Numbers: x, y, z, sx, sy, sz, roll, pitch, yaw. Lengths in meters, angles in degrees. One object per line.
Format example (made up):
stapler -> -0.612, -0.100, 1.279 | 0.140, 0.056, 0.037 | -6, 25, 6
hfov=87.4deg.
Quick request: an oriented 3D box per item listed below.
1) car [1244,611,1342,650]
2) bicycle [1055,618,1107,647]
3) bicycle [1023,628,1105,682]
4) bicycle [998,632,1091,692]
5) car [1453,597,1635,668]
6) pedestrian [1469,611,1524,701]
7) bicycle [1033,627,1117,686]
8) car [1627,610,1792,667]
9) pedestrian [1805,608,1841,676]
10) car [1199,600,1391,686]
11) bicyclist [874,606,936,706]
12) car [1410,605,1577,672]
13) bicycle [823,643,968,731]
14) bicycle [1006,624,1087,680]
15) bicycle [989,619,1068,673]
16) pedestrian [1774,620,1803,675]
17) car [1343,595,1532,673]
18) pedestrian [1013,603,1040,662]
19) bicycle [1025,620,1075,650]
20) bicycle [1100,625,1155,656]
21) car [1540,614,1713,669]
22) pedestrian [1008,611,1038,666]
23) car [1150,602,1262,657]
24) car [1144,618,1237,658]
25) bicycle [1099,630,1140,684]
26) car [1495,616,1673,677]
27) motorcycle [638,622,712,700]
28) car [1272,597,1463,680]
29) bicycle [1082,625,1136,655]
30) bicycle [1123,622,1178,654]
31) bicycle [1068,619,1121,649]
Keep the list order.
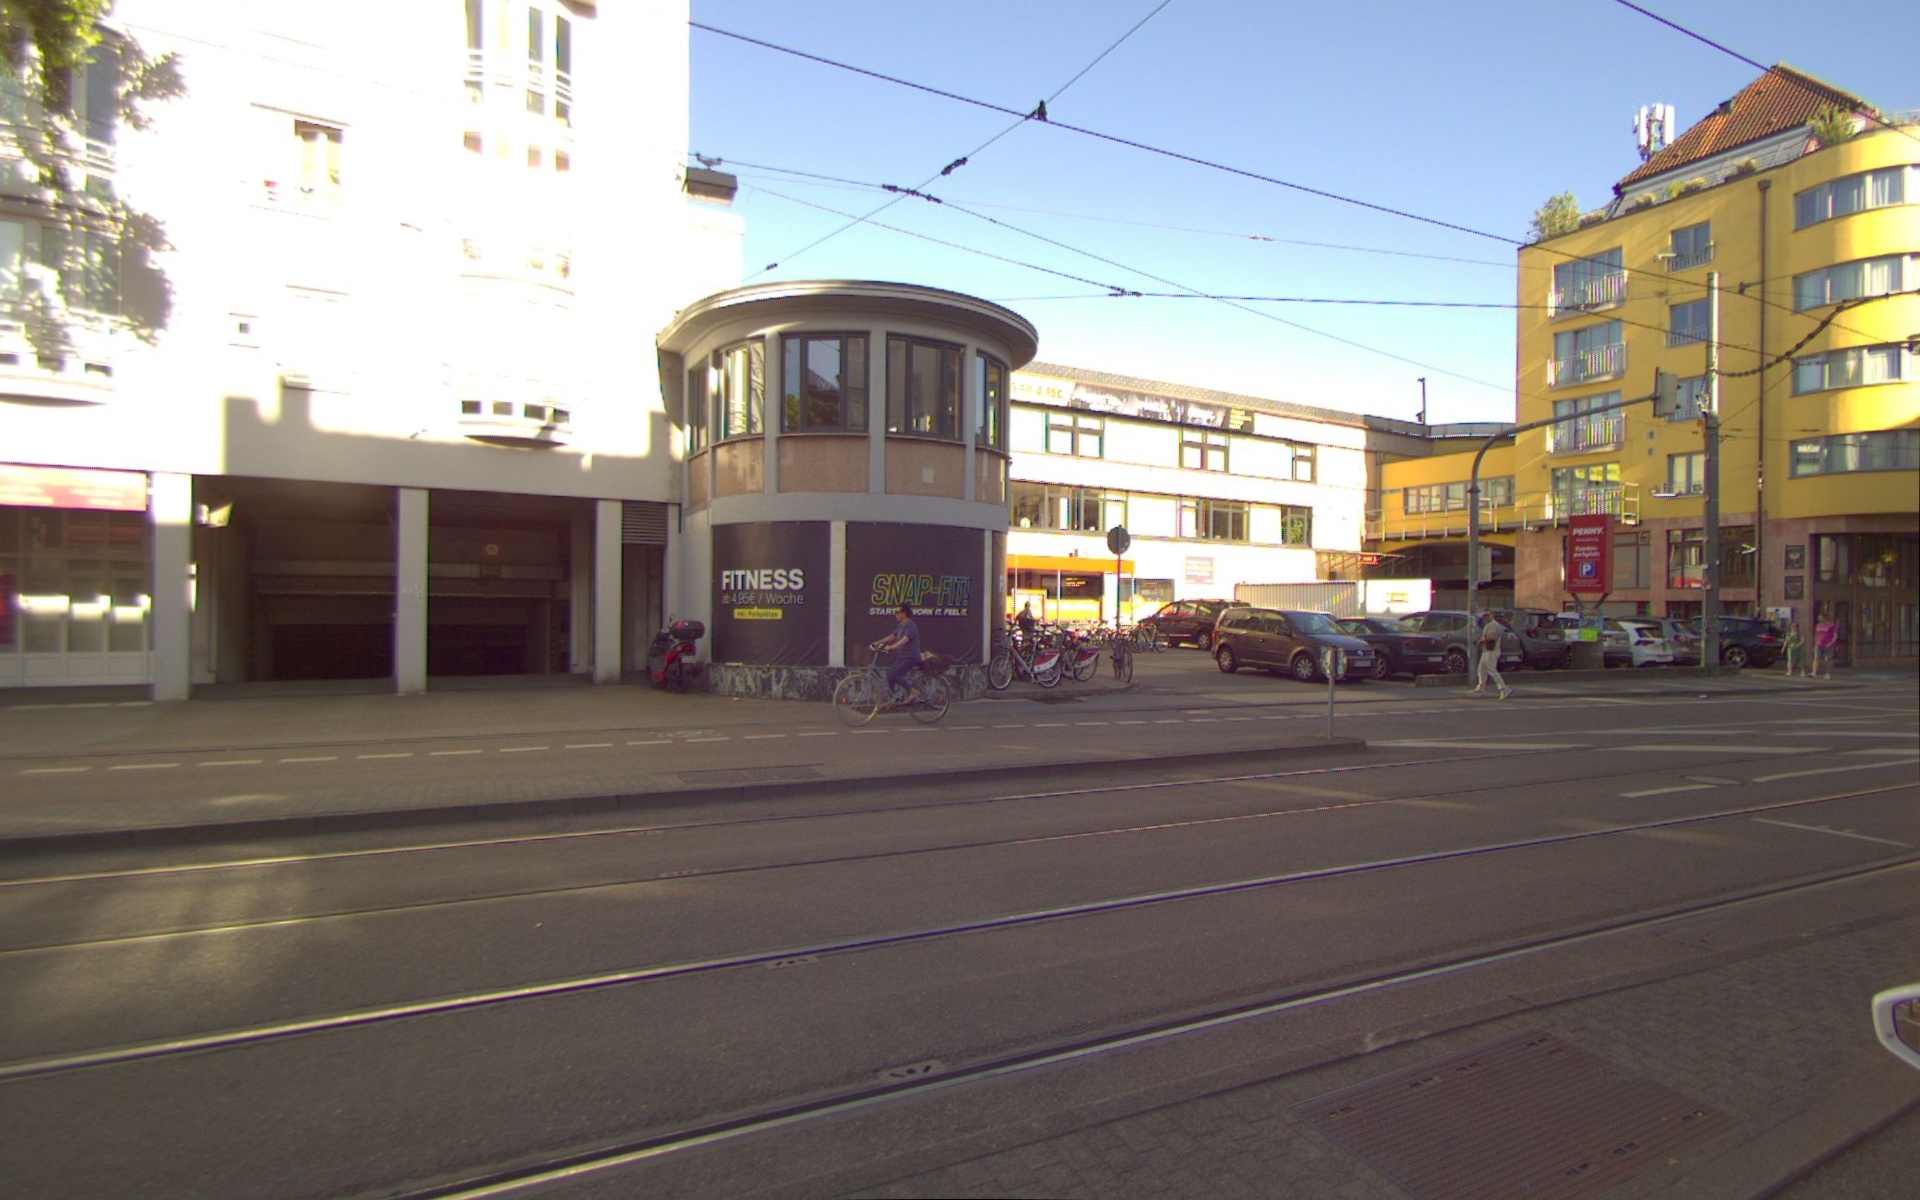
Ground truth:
car -> 13.405, 1.197, 40.571 | 1.677, 1.499, 3.559 | 0, 0, -31
bicycle -> 4.441, 1.191, 36.725 | 2.040, 1.028, 0.501 | 1, 0, -33
bicycle -> 2.128, 1.093, 20.360 | 1.862, 1.050, 0.460 | 1, -1, -38
bicycle -> 1.580, 1.117, 18.503 | 1.862, 1.050, 0.520 | 1, -1, -38
car -> 16.604, 0.930, 28.759 | 1.764, 1.835, 4.214 | 3, -3, -29
pedestrian -> 10.988, 1.128, 20.583 | 0.773, 1.787, 0.708 | 1, 0, -37
bicycle -> 2.289, 1.093, 19.809 | 1.862, 1.094, 0.460 | 1, -1, -38
car -> 25.629, 1.263, 34.517 | 1.764, 1.836, 4.214 | 1, -1, -29
pedestrian -> 25.594, 1.237, 29.802 | 0.701, 1.972, 0.634 | 1, -1, -31
car -> 7.809, 0.927, 23.785 | 1.764, 1.787, 4.214 | 1, 0, -29
bicyclist -> -0.790, 0.781, 14.288 | 0.709, 1.379, 0.560 | 1, -1, -27
car -> 14.466, 0.983, 27.409 | 1.764, 1.695, 3.673 | 1, 0, -29
bicycle -> -0.900, 1.202, 14.217 | 1.977, 1.138, 0.561 | 0, 0, -26
bicycle -> 1.814, 1.058, 20.822 | 1.862, 1.102, 0.460 | 1, -1, -38
bicycle -> 1.473, 0.964, 21.482 | 1.862, 1.091, 0.460 | 1, -1, -38
pedestrian -> 25.204, 1.436, 30.553 | 0.493, 1.639, 0.569 | 1, -1, -31
car -> 12.260, 0.836, 26.057 | 1.764, 1.836, 4.214 | 1, -1, -29
pedestrian -> 1.961, 0.943, 29.616 | 0.647, 1.718, 0.478 | 1, 0, -32
bicycle -> 3.115, 1.213, 34.848 | 1.802, 1.028, 0.366 | 1, -1, -27
bicycle -> 5.709, 1.375, 34.119 | 2.040, 1.028, 0.510 | 1, -1, -33
car -> 20.826, 1.292, 31.559 | 1.764, 1.568, 4.214 | 3, -3, -29
pedestrian -> 1.950, 1.174, 30.935 | 0.683, 1.656, 0.635 | 0, 0, -31
car -> 8.339, 0.967, 34.265 | 1.677, 1.772, 3.559 | 1, 0, -31
car -> 9.229, 1.493, 40.402 | 1.609, 1.501, 3.618 | 2, -2, -31
bicycle -> 3.352, 1.173, 21.211 | 0.417, 1.050, 1.878 | 0, -1, -5
car -> 18.517, 1.322, 29.989 | 1.764, 1.631, 4.214 | 1, -1, -29
motorcycle -> -5.126, 1.055, 17.990 | 0.668, 1.280, 1.969 | 0, 0, -35
car -> 9.906, 0.880, 24.740 | 1.764, 1.836, 4.214 | 1, -1, -29
bicycle -> 5.211, 1.384, 35.097 | 2.040, 1.028, 0.501 | 1, -1, -33
bicycle -> 6.351, 1.247, 33.436 | 2.040, 1.028, 0.506 | 1, 0, -33
bicycle -> 4.840, 1.213, 36.073 | 2.040, 1.028, 0.492 | 1, 0, -33
